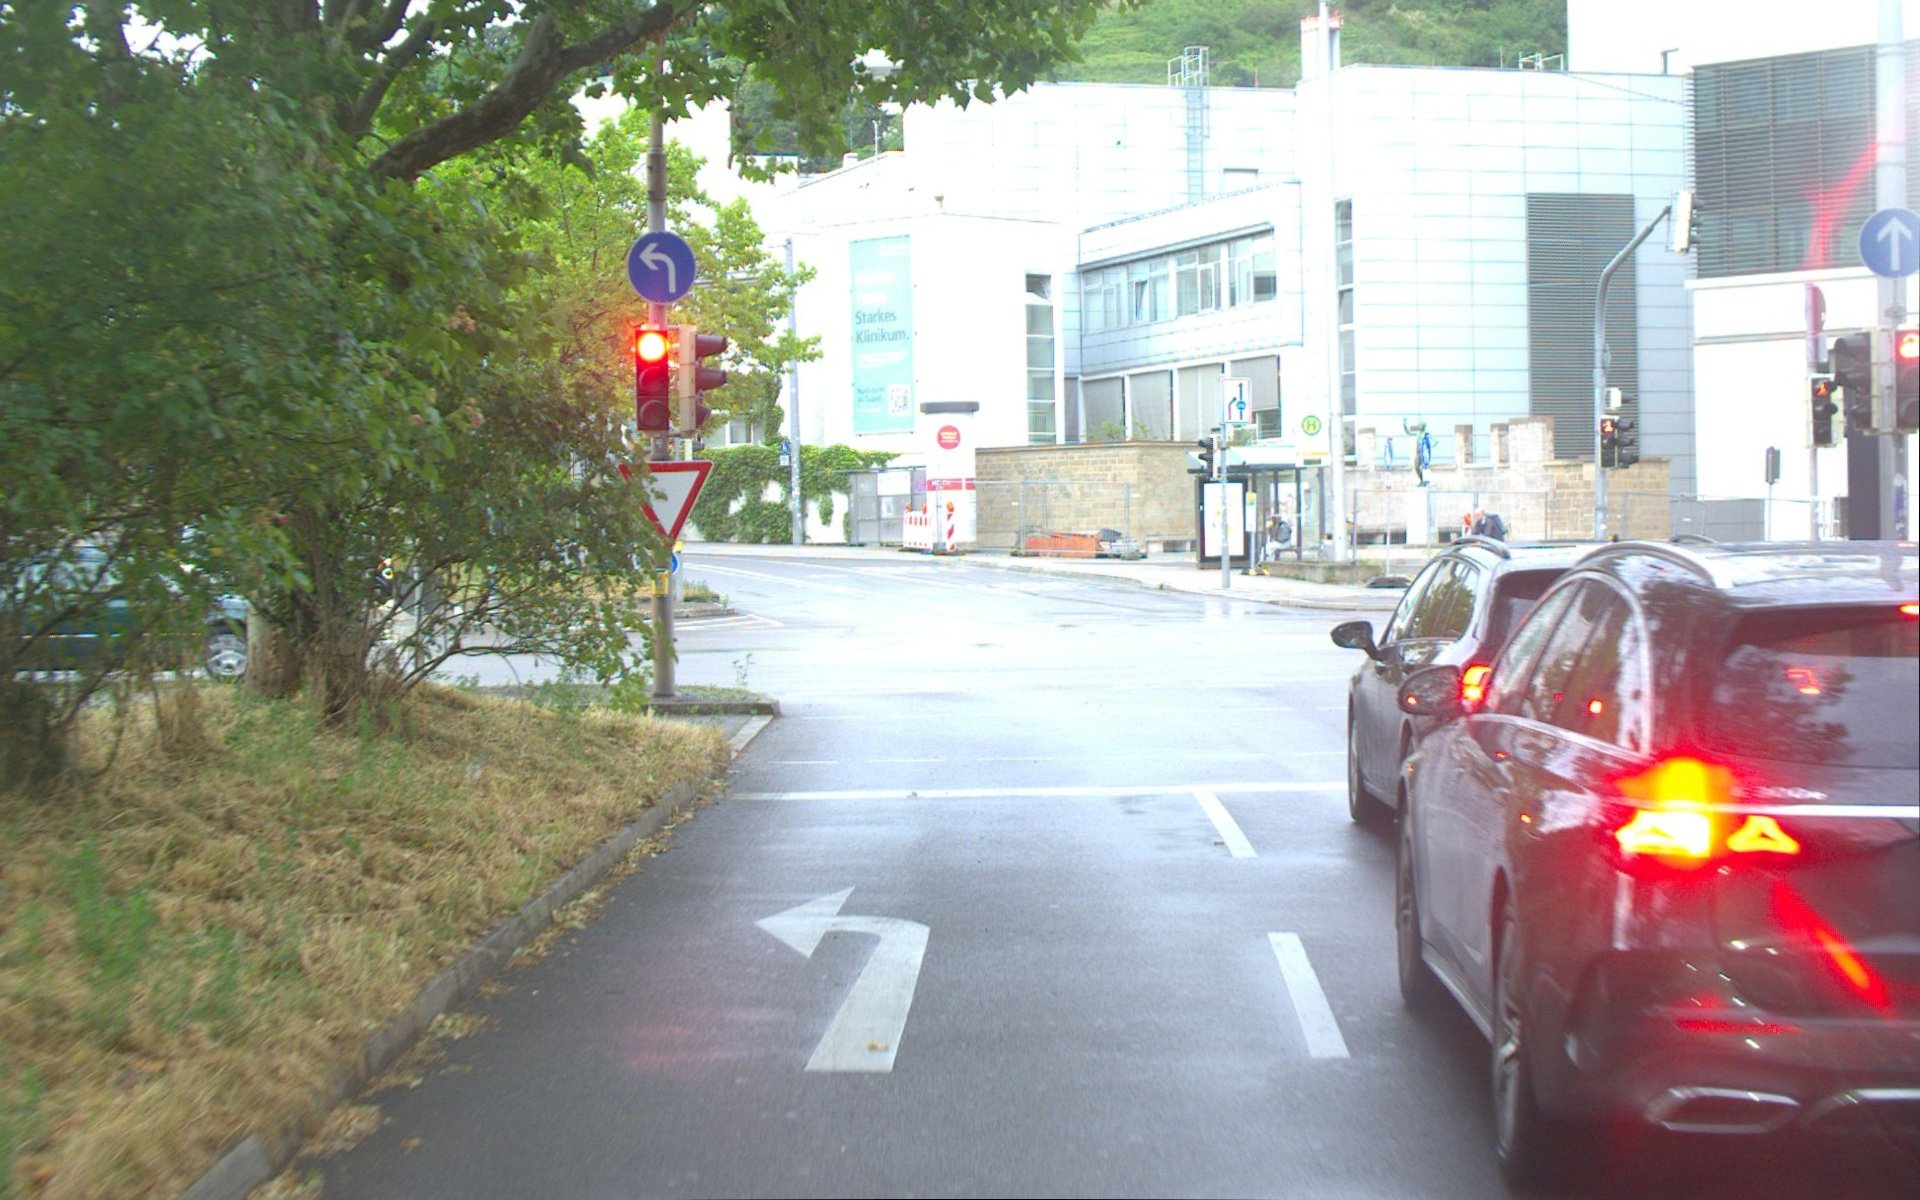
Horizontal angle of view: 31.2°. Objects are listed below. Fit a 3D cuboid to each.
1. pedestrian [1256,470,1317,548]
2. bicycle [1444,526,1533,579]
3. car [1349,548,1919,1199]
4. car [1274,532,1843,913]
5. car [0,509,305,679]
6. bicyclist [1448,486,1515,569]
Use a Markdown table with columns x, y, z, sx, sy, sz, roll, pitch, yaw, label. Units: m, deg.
| x | y | z | sx | sy | sz | roll | pitch | yaw | label |
| --- | --- | --- | --- | --- | --- | --- | --- | --- | --- |
| 7.363 | -2.054 | 77.578 | 1.257 | 1.713 | 1.016 | 1 | 0 | 0 | pedestrian |
| 10.555 | -0.942 | 68.646 | 1.815 | 1.053 | 0.648 | -1 | 1 | -35 | bicycle |
| 2.153 | 0.621 | 8.879 | 1.879 | 1.440 | 4.930 | 1 | 1 | 2 | car |
| 2.636 | 0.451 | 16.201 | 1.670 | 1.461 | 4.513 | 0 | 2 | -3 | car |
| -9.477 | -0.056 | 36.005 | 4.953 | 1.667 | 2.000 | -1 | 1 | -6 | car |
| 10.407 | -1.446 | 68.550 | 1.125 | 1.627 | 0.702 | 1 | 0 | -34 | bicyclist |
